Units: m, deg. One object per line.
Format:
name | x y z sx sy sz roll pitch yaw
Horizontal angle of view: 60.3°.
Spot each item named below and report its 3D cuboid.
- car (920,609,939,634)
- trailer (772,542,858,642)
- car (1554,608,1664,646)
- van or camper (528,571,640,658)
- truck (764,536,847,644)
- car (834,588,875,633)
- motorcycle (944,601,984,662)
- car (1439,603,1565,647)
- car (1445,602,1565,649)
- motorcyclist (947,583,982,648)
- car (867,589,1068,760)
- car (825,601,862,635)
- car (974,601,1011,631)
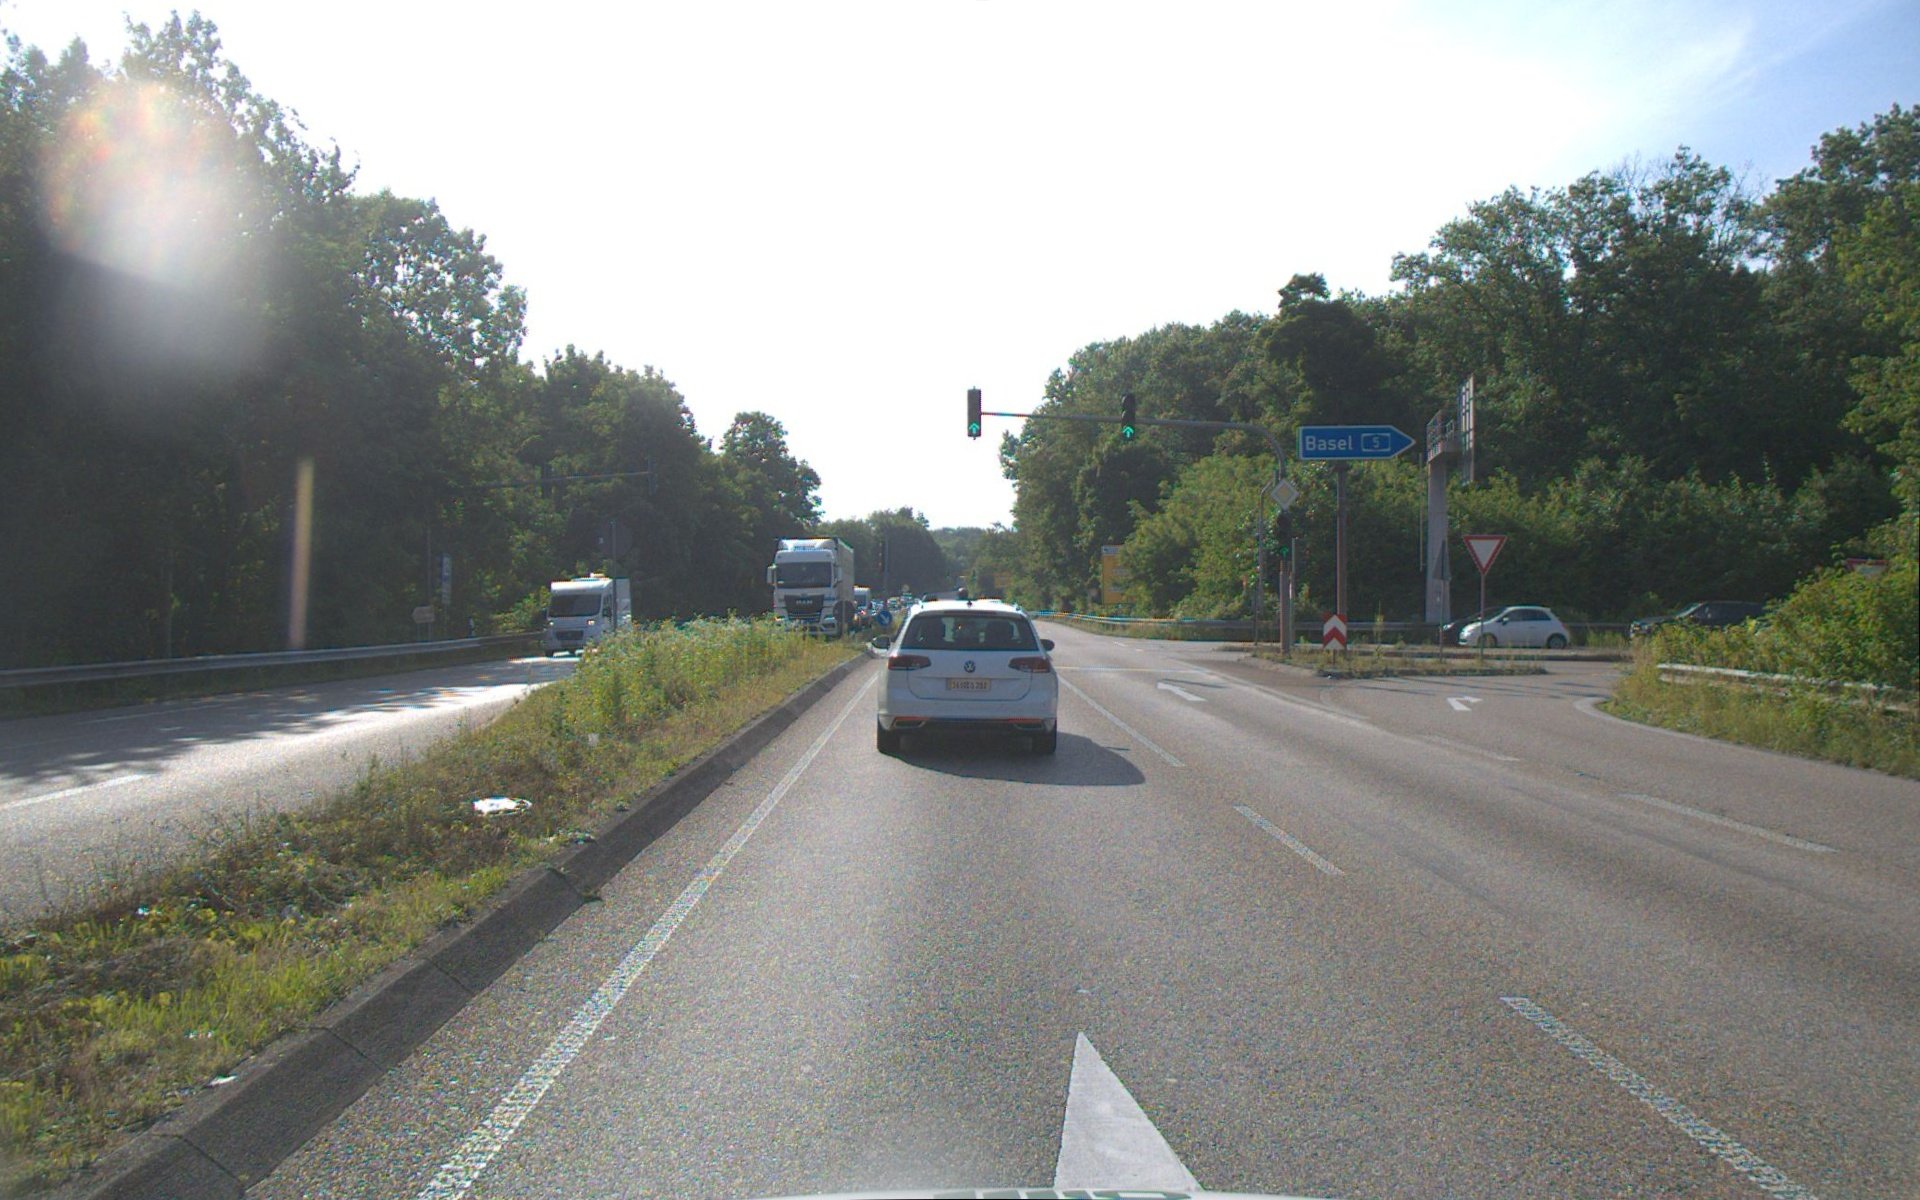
car | -3.769 2.631 203.071 2.165 2.939 7.010 -1 0 -1
trailer | -6.318 -0.312 74.224 2.931 4.066 14.009 0 0 -1
car | 24.340 1.003 62.094 3.550 1.336 1.492 0 0 4
van or camper | -13.112 0.490 58.139 2.364 2.758 6.436 -3 0 0
truck | -6.143 -0.367 66.543 2.832 4.067 6.719 1 0 -2
car | -6.368 0.601 100.349 2.033 2.578 6.163 -1 0 0
motorcycle | 0.128 0.799 43.204 0.890 1.478 2.689 -3 0 2
car | 19.525 0.892 59.706 4.023 1.522 1.786 0 0 3
car | 18.424 0.841 56.038 3.522 1.529 1.809 0 0 4
motorcyclist | 0.127 0.397 43.321 0.865 1.644 1.290 1 0 2
car | 0.066 0.687 17.607 1.832 1.548 4.834 1 0 0
car | -5.859 0.889 83.777 1.666 1.660 4.369 -1 0 -2
car | 1.536 0.742 79.848 1.725 1.404 3.971 1 0 0
